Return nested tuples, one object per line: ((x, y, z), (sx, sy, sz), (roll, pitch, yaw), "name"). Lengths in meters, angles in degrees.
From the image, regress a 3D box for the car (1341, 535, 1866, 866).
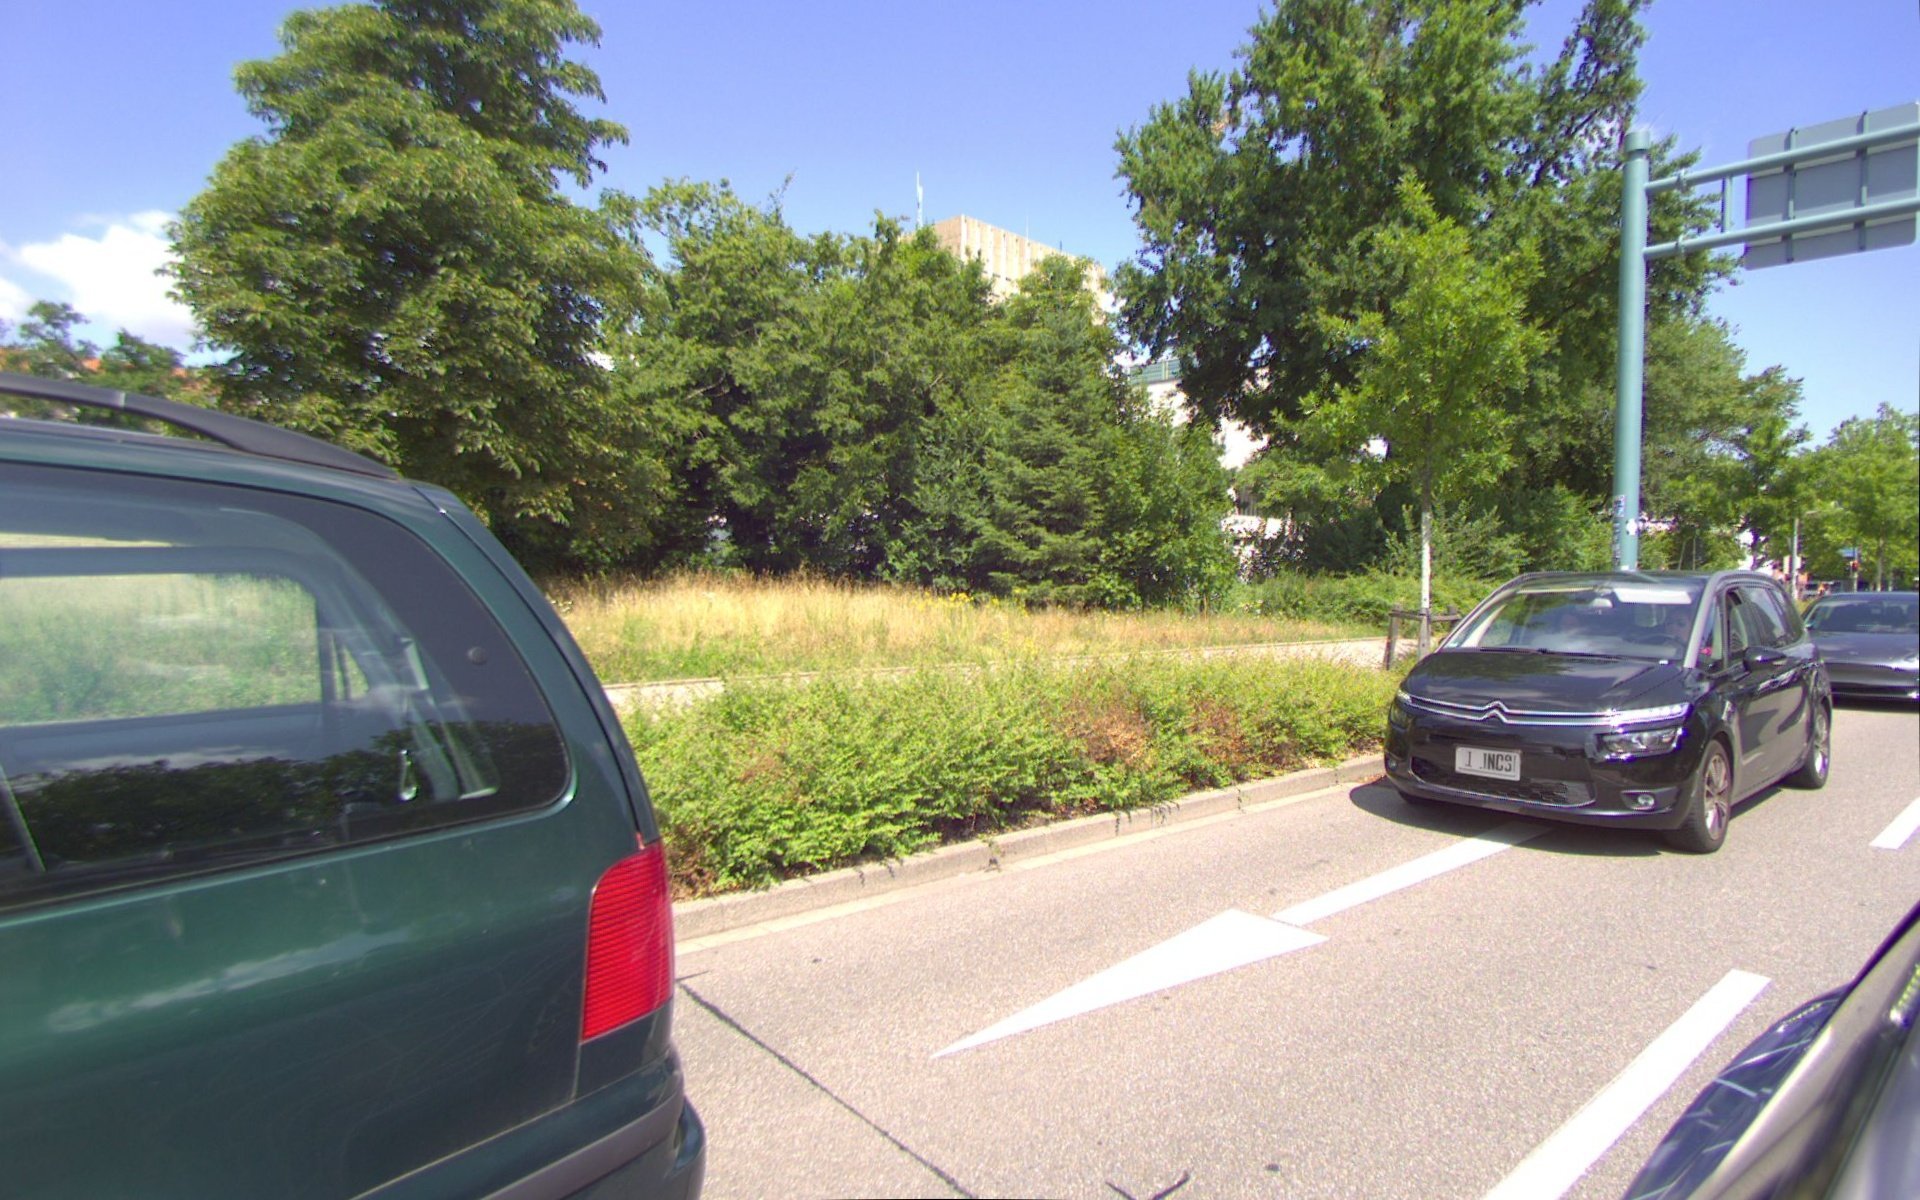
((4.739, 0.498, 7.175), (4.439, 1.643, 1.862), (0, -1, -40), "car")

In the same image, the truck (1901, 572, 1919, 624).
((44.224, -0.129, 43.328), (2.417, 2.330, 5.814), (0, 0, 0), "truck")

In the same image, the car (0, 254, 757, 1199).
((-2.546, 0.537, 0.827), (4.369, 1.745, 1.797), (0, -1, -40), "car")

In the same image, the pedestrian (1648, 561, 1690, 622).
((21.291, -0.264, 30.408), (0.827, 1.787, 0.844), (-1, 0, -40), "pedestrian")

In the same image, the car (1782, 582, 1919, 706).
((12.455, 0.509, 13.438), (4.288, 1.435, 1.763), (0, 0, -42), "car")

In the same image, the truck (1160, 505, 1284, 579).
((11.862, -2.488, 45.479), (7.009, 3.060, 2.093), (-1, 1, -45), "truck")
